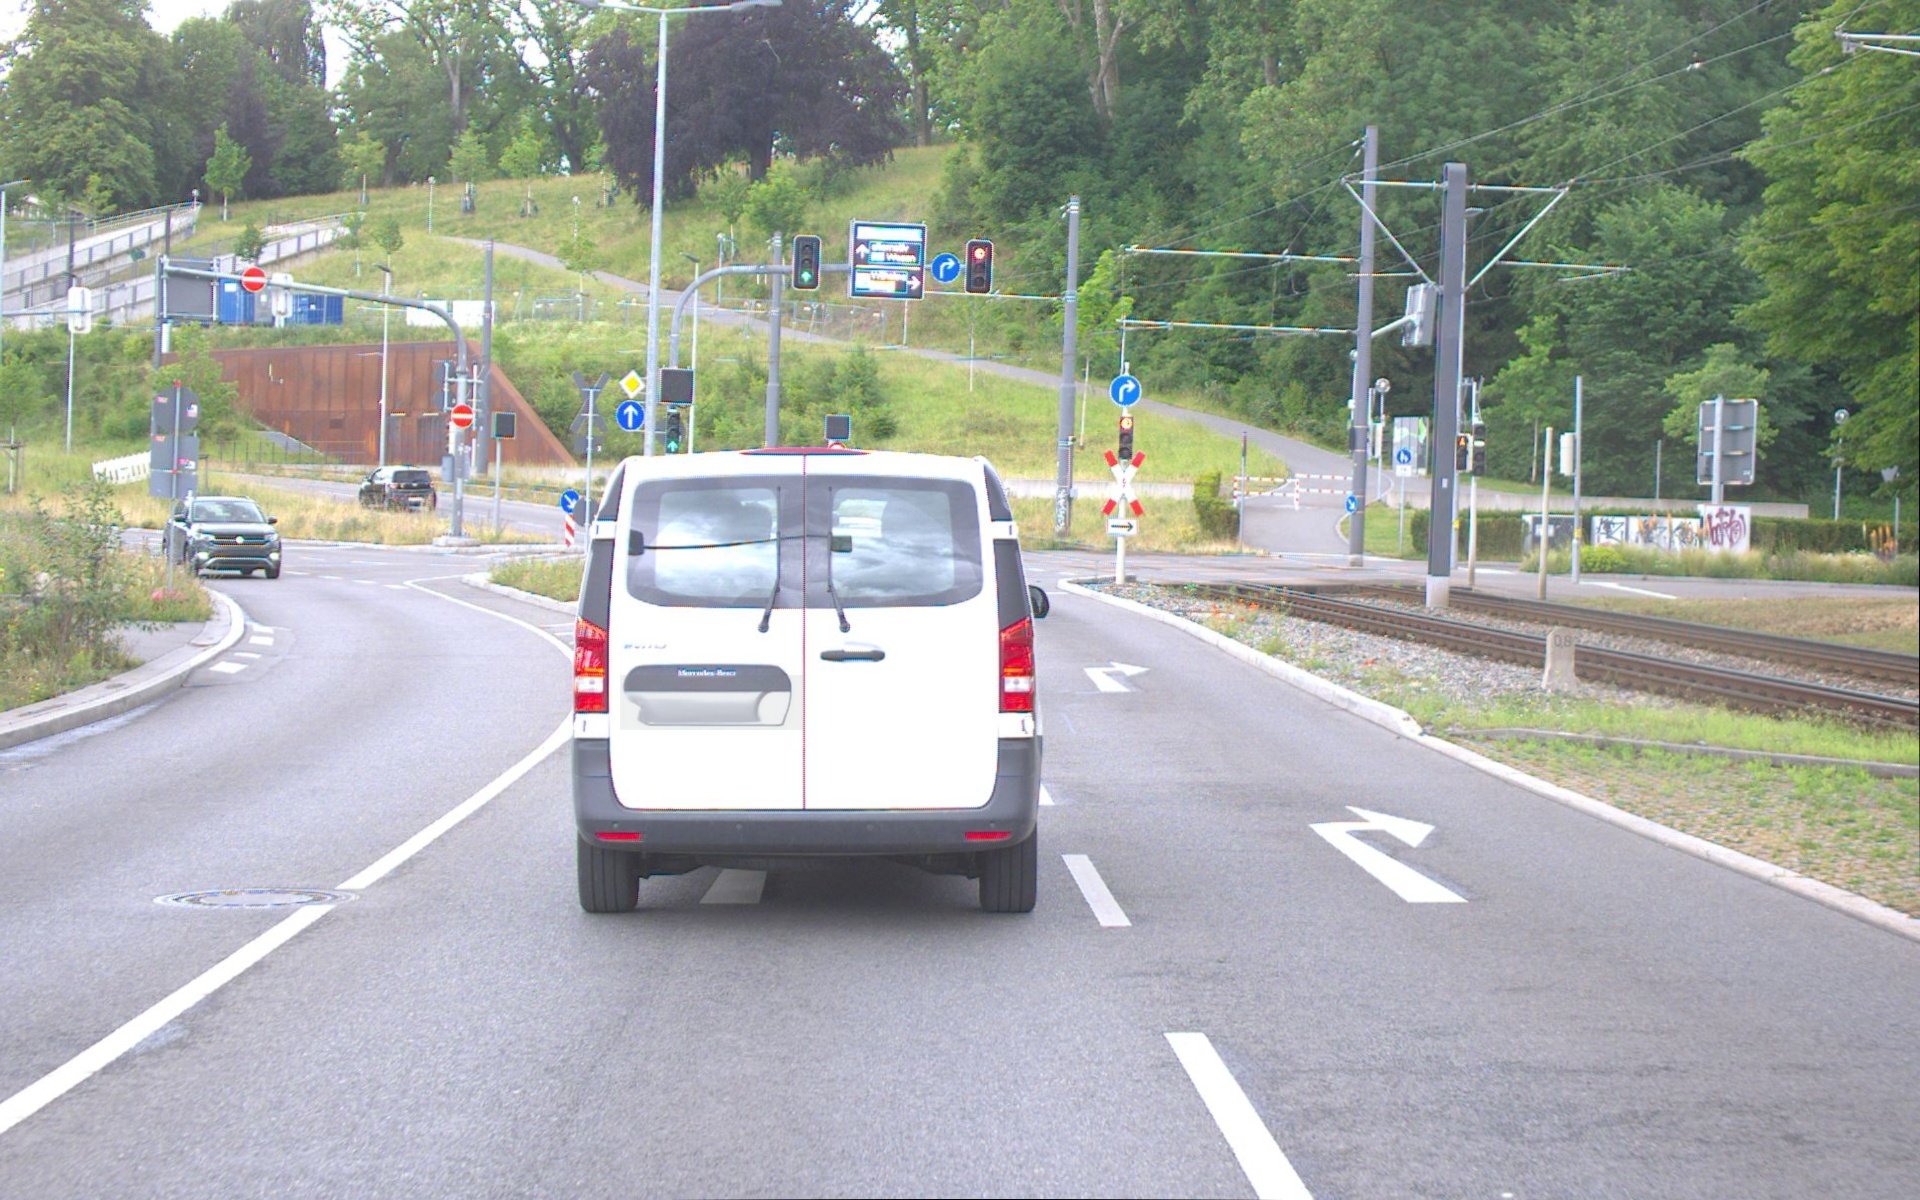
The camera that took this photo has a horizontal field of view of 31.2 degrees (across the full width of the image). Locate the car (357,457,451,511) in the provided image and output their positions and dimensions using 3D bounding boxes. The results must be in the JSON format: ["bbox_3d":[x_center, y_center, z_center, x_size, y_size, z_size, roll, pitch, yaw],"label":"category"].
[{"bbox_3d":[-18.473,-3.861,114.173,1.937,1.621,4.001,2,2,-26],"label":"car"}]

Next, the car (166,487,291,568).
[{"bbox_3d":[-14.139,-1.418,66.324,1.877,1.472,4.002,0,2,-19],"label":"car"}]

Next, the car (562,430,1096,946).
[{"bbox_3d":[-0.689,0.279,15.172,1.959,1.897,4.462,2,1,-5],"label":"car"}]
